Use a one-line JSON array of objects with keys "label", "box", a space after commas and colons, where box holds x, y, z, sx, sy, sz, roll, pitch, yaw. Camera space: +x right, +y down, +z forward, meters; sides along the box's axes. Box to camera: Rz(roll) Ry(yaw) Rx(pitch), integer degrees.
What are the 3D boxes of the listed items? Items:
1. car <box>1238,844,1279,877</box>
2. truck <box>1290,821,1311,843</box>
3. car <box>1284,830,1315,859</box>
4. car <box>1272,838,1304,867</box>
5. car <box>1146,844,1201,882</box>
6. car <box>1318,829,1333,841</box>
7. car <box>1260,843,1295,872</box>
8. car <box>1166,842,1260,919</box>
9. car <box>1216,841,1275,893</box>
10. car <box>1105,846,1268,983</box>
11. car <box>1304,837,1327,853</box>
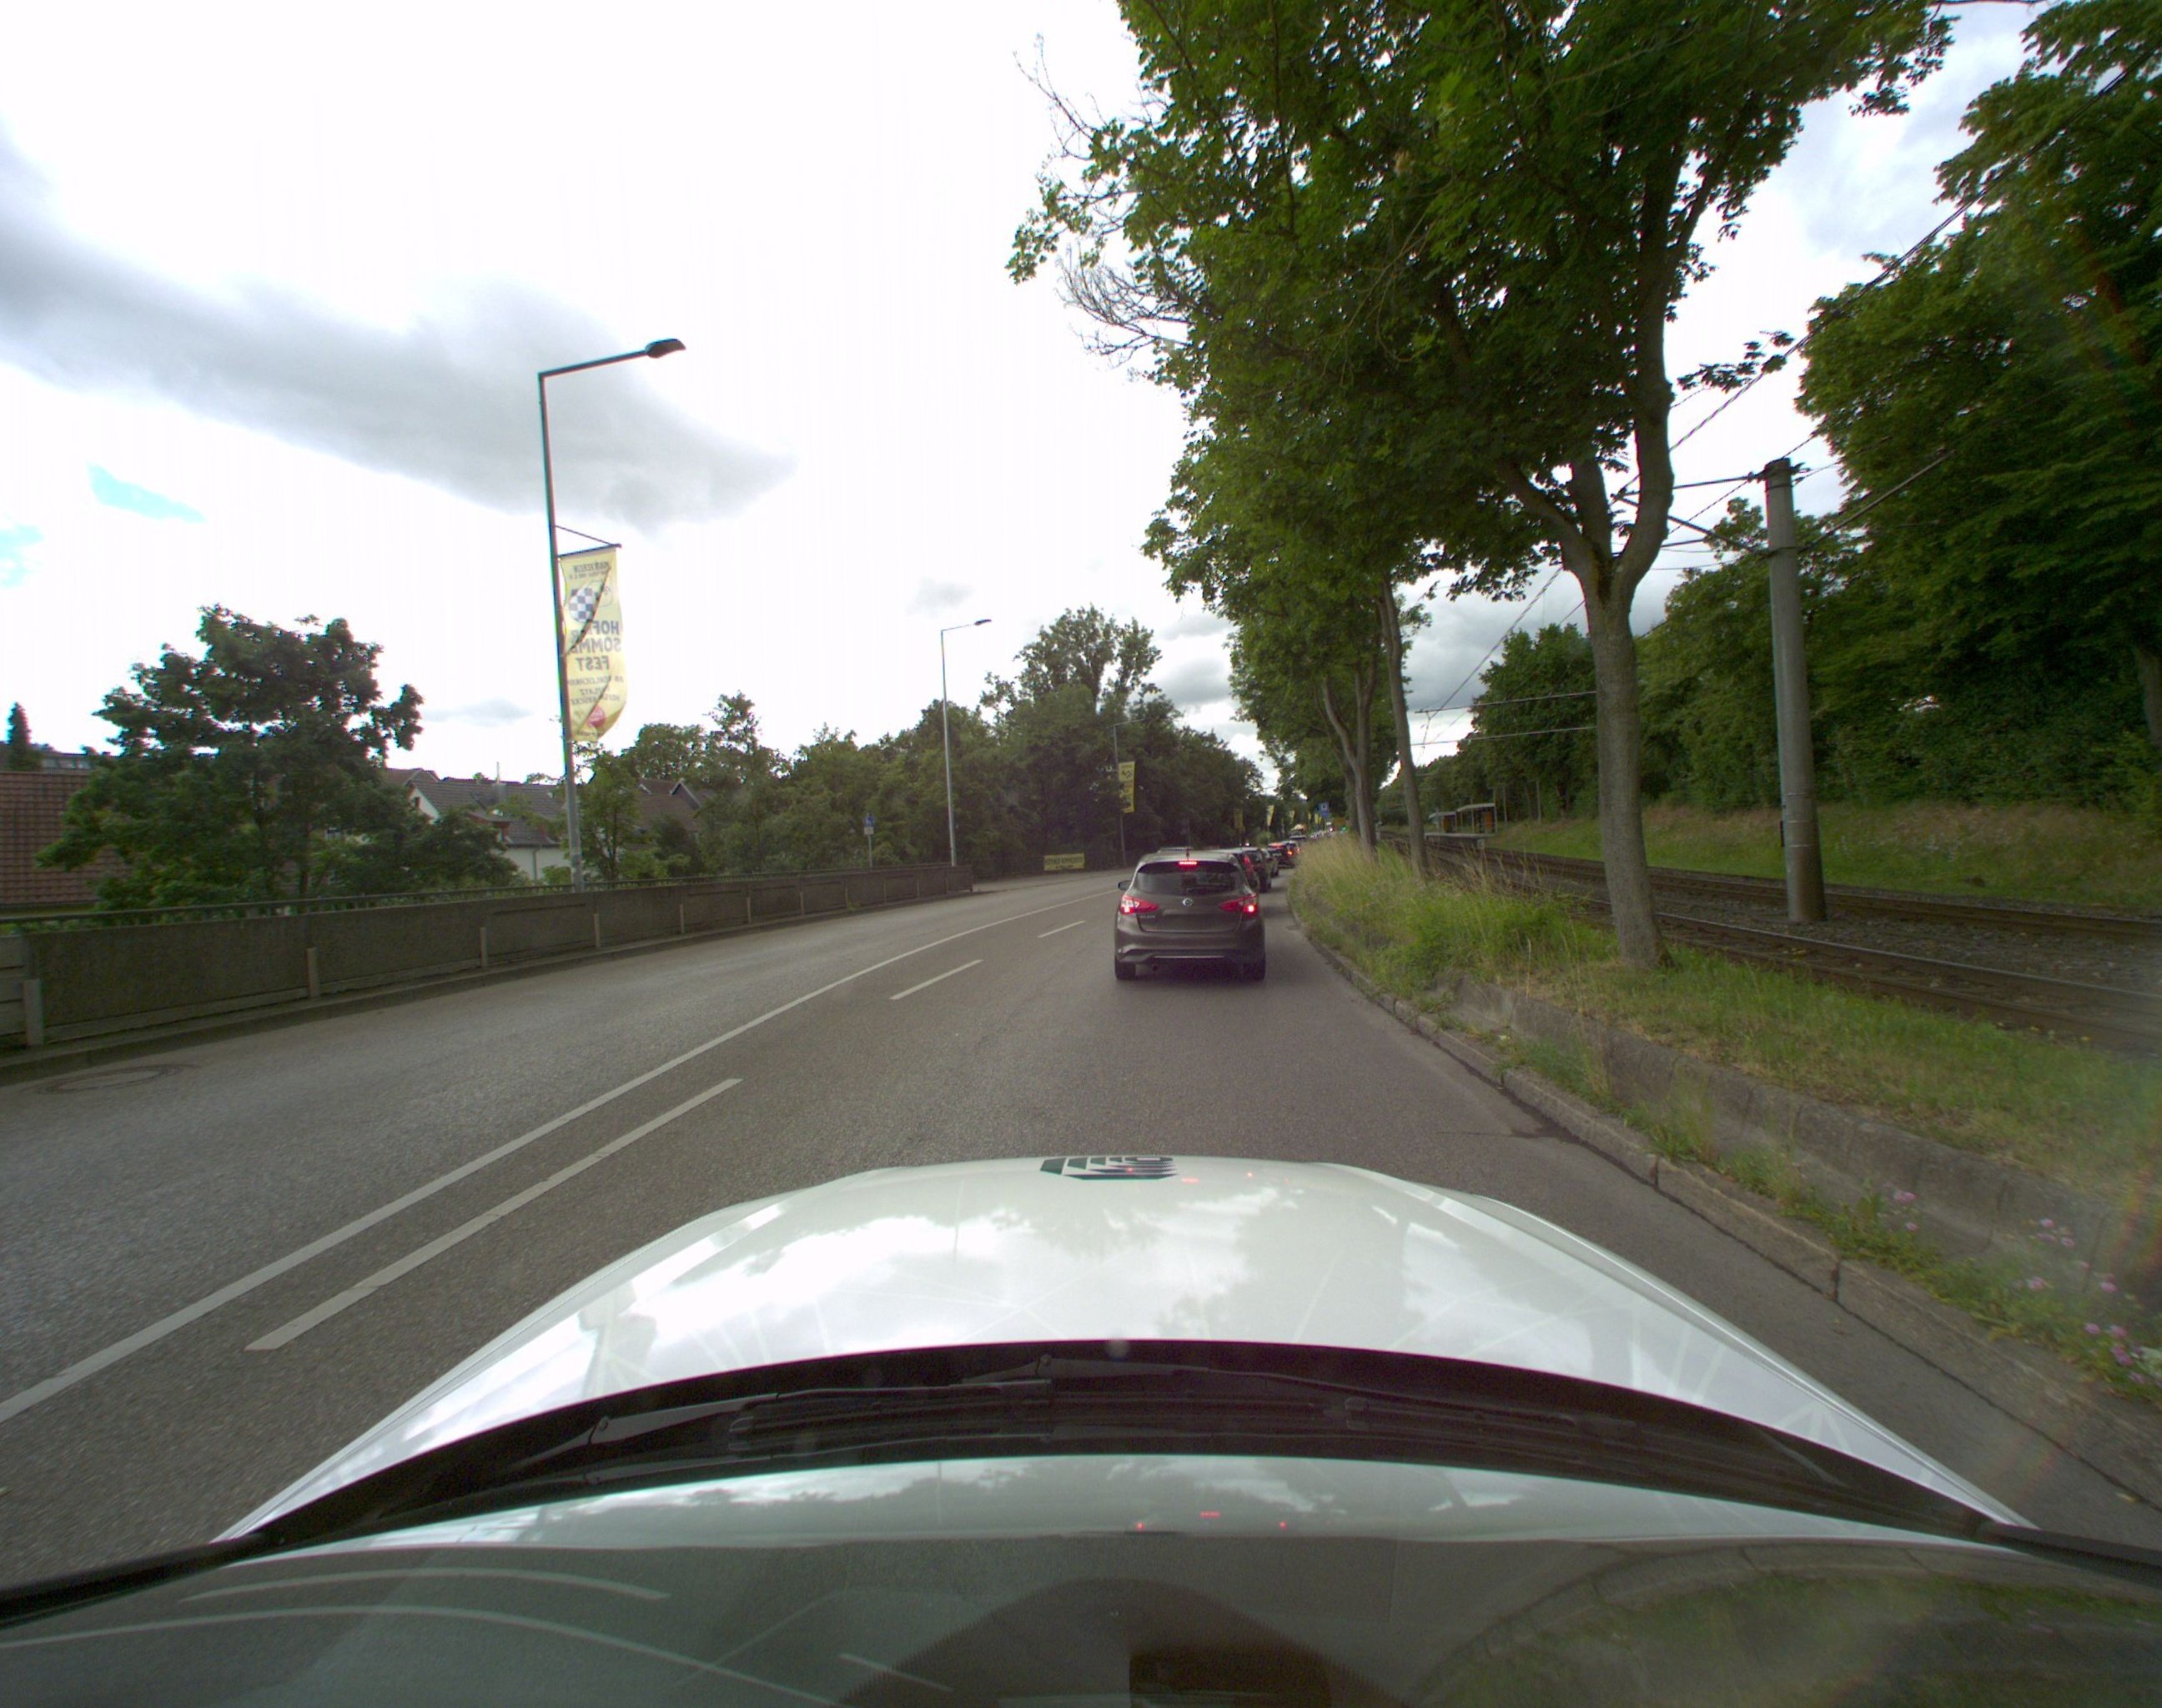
[{"label": "car", "box": [8.167, 0.275, 37.385, 1.489, 1.364, 3.603, -4, -1, 16]}, {"label": "truck", "box": [40.504, -4.001, 150.215, 2.632, 3.938, 10.163, -2, 0, 20]}, {"label": "car", "box": [16.469, -0.745, 61.229, 1.875, 2.013, 4.020, -3, 0, 19]}, {"label": "car", "box": [13.405, -0.075, 52.692, 1.705, 1.693, 4.018, -4, -2, 17]}, {"label": "car", "box": [4.098, 0.343, 35.570, 1.839, 1.486, 4.437, -3, 0, 13]}, {"label": "car", "box": [35.889, -2.762, 119.669, 1.875, 1.653, 4.020, -3, 0, 19]}, {"label": "car", "box": [11.214, 0.197, 46.412, 1.791, 1.540, 4.016, -1, 0, 15]}, {"label": "car", "box": [3.179, 0.575, 19.047, 1.880, 1.574, 4.013, -2, -1, 12]}, {"label": "car", "box": [5.559, 0.412, 27.254, 1.566, 1.538, 4.017, -4, -1, 15]}, {"label": "car", "box": [1.501, 0.689, 10.981, 1.764, 1.494, 4.011, -1, -1, 10]}, {"label": "car", "box": [22.695, -0.906, 78.850, 1.875, 1.445, 3.826, -3, 0, 19]}]
